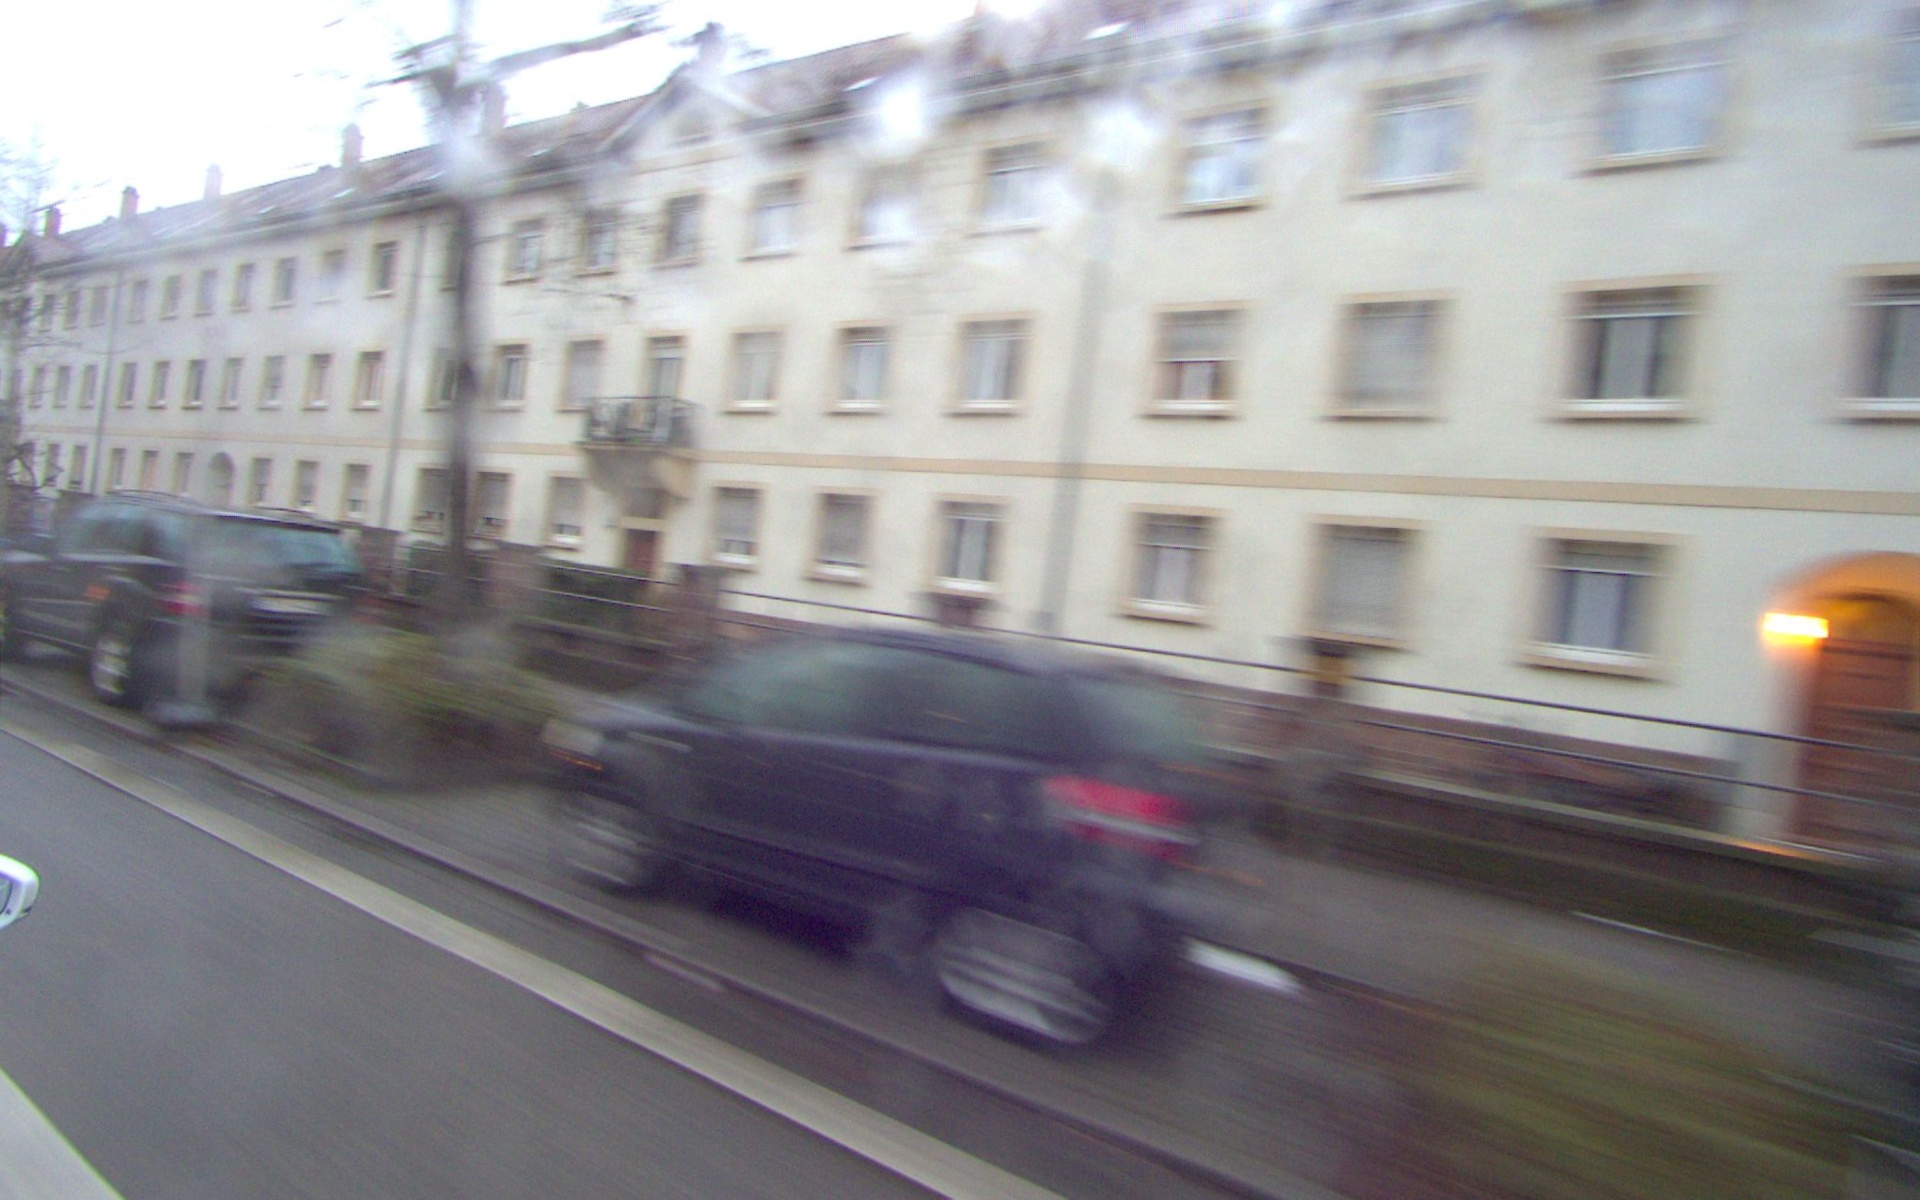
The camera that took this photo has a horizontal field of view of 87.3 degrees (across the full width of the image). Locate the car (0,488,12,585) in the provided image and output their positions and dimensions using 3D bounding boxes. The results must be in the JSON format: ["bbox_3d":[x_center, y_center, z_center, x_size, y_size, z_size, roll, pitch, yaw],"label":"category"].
[{"bbox_3d":[-16.540,-1.142,15.363,4.487,1.629,1.908,7,-1,33],"label":"car"}]

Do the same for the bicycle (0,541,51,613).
[{"bbox_3d":[-13.674,-0.388,13.566,0.458,0.927,2.011,8,0,40],"label":"bicycle"}]

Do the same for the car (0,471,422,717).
[{"bbox_3d":[-7.612,-0.134,9.750,4.820,1.748,1.909,7,-1,31],"label":"car"}]

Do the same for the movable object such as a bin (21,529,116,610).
[{"bbox_3d":[-11.439,-0.386,12.922,0.559,0.968,0.751,7,5,26],"label":"movable object such as a bin"}]

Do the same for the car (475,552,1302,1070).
[{"bbox_3d":[-0.480,0.774,5.322,3.921,1.527,1.789,7,-1,31],"label":"car"}]
